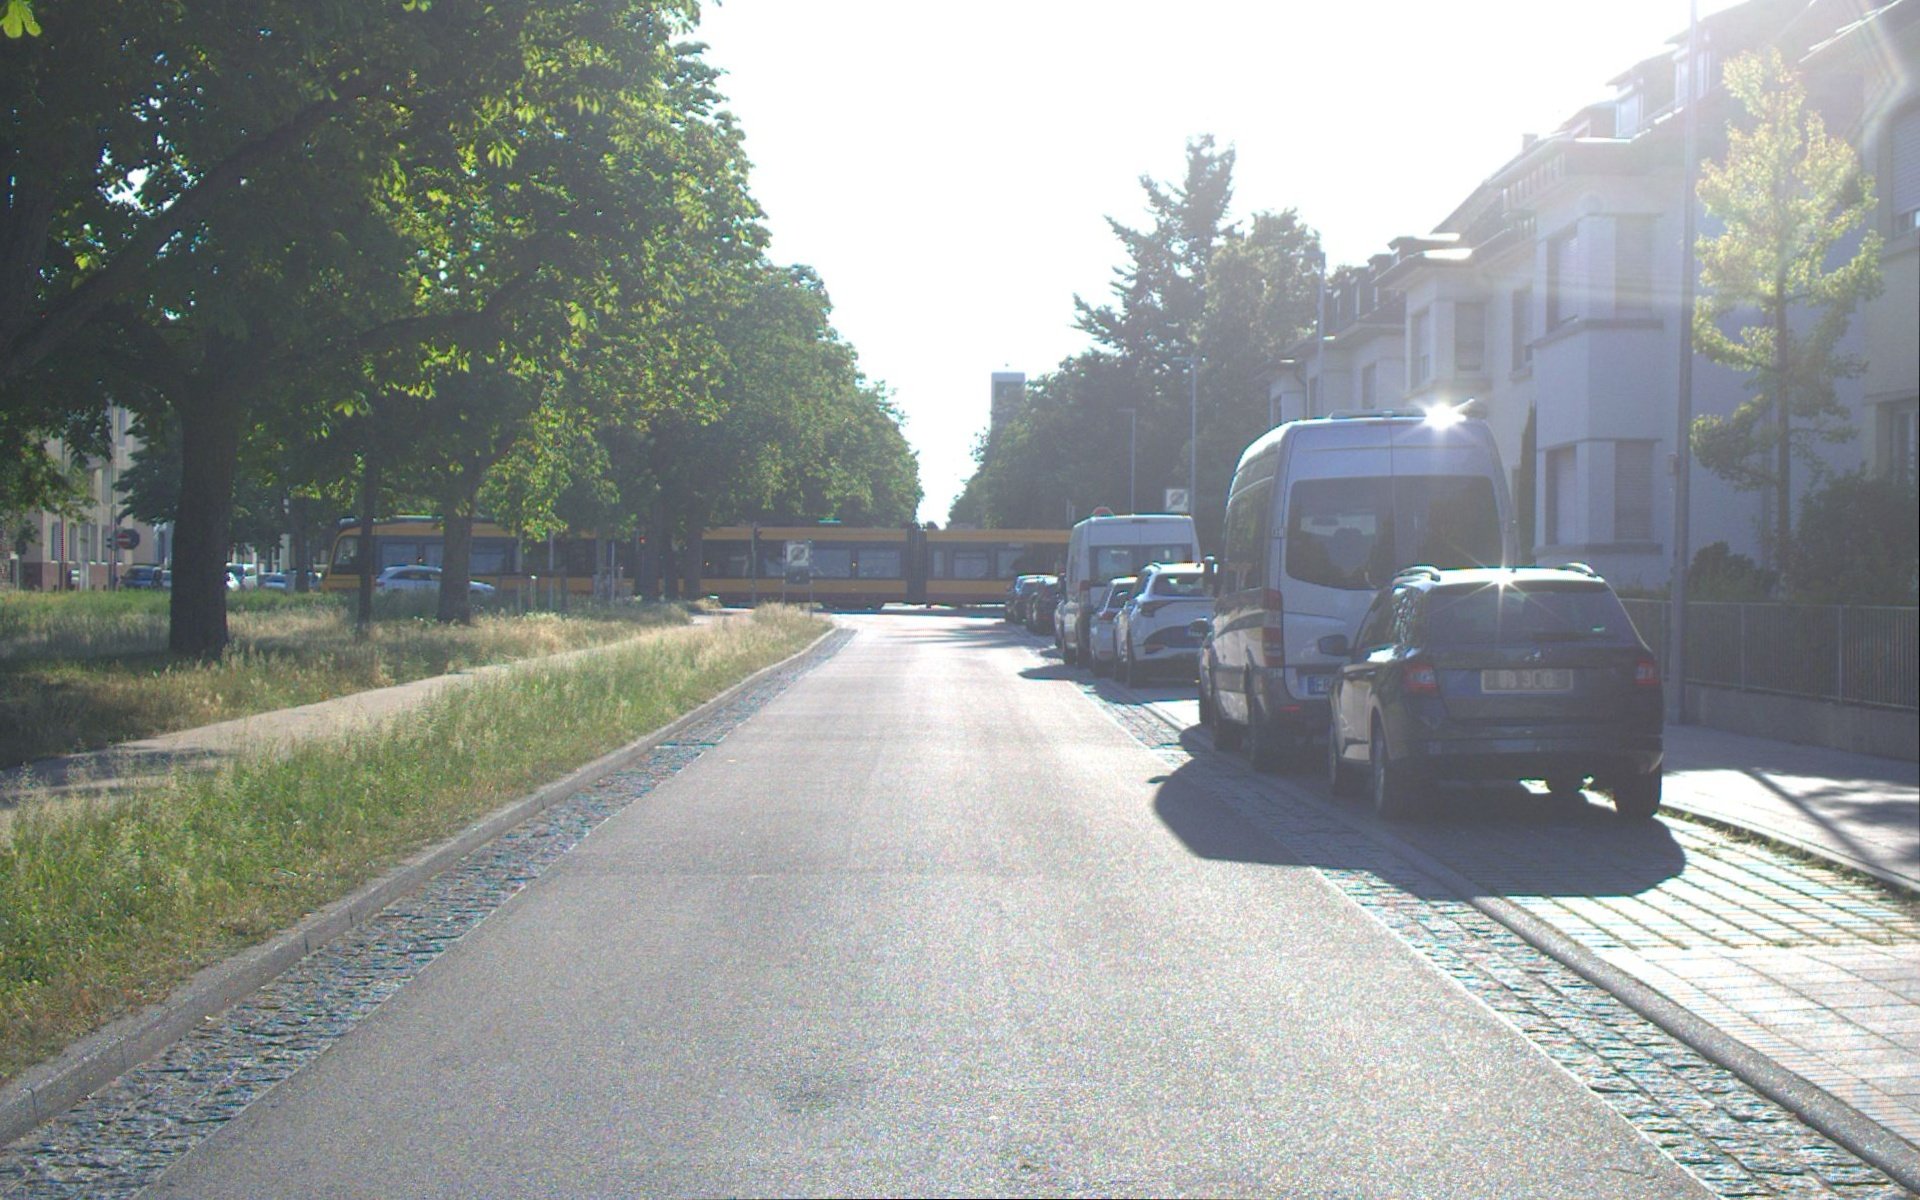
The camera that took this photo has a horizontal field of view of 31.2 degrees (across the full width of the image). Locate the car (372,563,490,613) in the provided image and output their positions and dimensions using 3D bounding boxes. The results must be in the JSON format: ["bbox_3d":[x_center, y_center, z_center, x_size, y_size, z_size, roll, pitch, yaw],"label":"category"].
[{"bbox_3d":[-20.153,-0.464,131.089,4.345,1.758,2.000,2,0,-8],"label":"car"}]

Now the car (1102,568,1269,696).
[{"bbox_3d":[3.001,0.395,46.448,1.837,1.630,4.131,-1,0,-2],"label":"car"}]

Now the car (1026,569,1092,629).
[{"bbox_3d":[2.563,-0.035,89.849,1.650,1.525,3.851,-1,0,1],"label":"car"}]

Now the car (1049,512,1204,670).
[{"bbox_3d":[2.750,-0.163,57.995,2.126,2.524,5.189,-1,0,-2],"label":"car"}]

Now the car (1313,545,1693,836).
[{"bbox_3d":[3.272,0.507,21.437,1.663,1.587,4.086,-2,0,0],"label":"car"}]

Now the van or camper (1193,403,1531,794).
[{"bbox_3d":[3.105,0.010,27.775,1.943,2.768,5.939,2,-1,0],"label":"van or camper"}]

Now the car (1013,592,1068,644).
[{"bbox_3d":[2.475,0.542,106.685,1.650,1.525,3.851,-1,0,1],"label":"car"}]

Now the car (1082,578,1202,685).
[{"bbox_3d":[2.712,0.450,51.843,1.650,1.525,3.851,-1,0,1],"label":"car"}]

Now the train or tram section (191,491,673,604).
[{"bbox_3d":[-21.361,-2.096,140.046,19.069,3.943,3.644,2,0,-6],"label":"train or tram section"}]

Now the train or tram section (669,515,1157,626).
[{"bbox_3d":[-2.009,-1.171,141.768,19.780,3.943,3.644,2,0,-4],"label":"train or tram section"}]
